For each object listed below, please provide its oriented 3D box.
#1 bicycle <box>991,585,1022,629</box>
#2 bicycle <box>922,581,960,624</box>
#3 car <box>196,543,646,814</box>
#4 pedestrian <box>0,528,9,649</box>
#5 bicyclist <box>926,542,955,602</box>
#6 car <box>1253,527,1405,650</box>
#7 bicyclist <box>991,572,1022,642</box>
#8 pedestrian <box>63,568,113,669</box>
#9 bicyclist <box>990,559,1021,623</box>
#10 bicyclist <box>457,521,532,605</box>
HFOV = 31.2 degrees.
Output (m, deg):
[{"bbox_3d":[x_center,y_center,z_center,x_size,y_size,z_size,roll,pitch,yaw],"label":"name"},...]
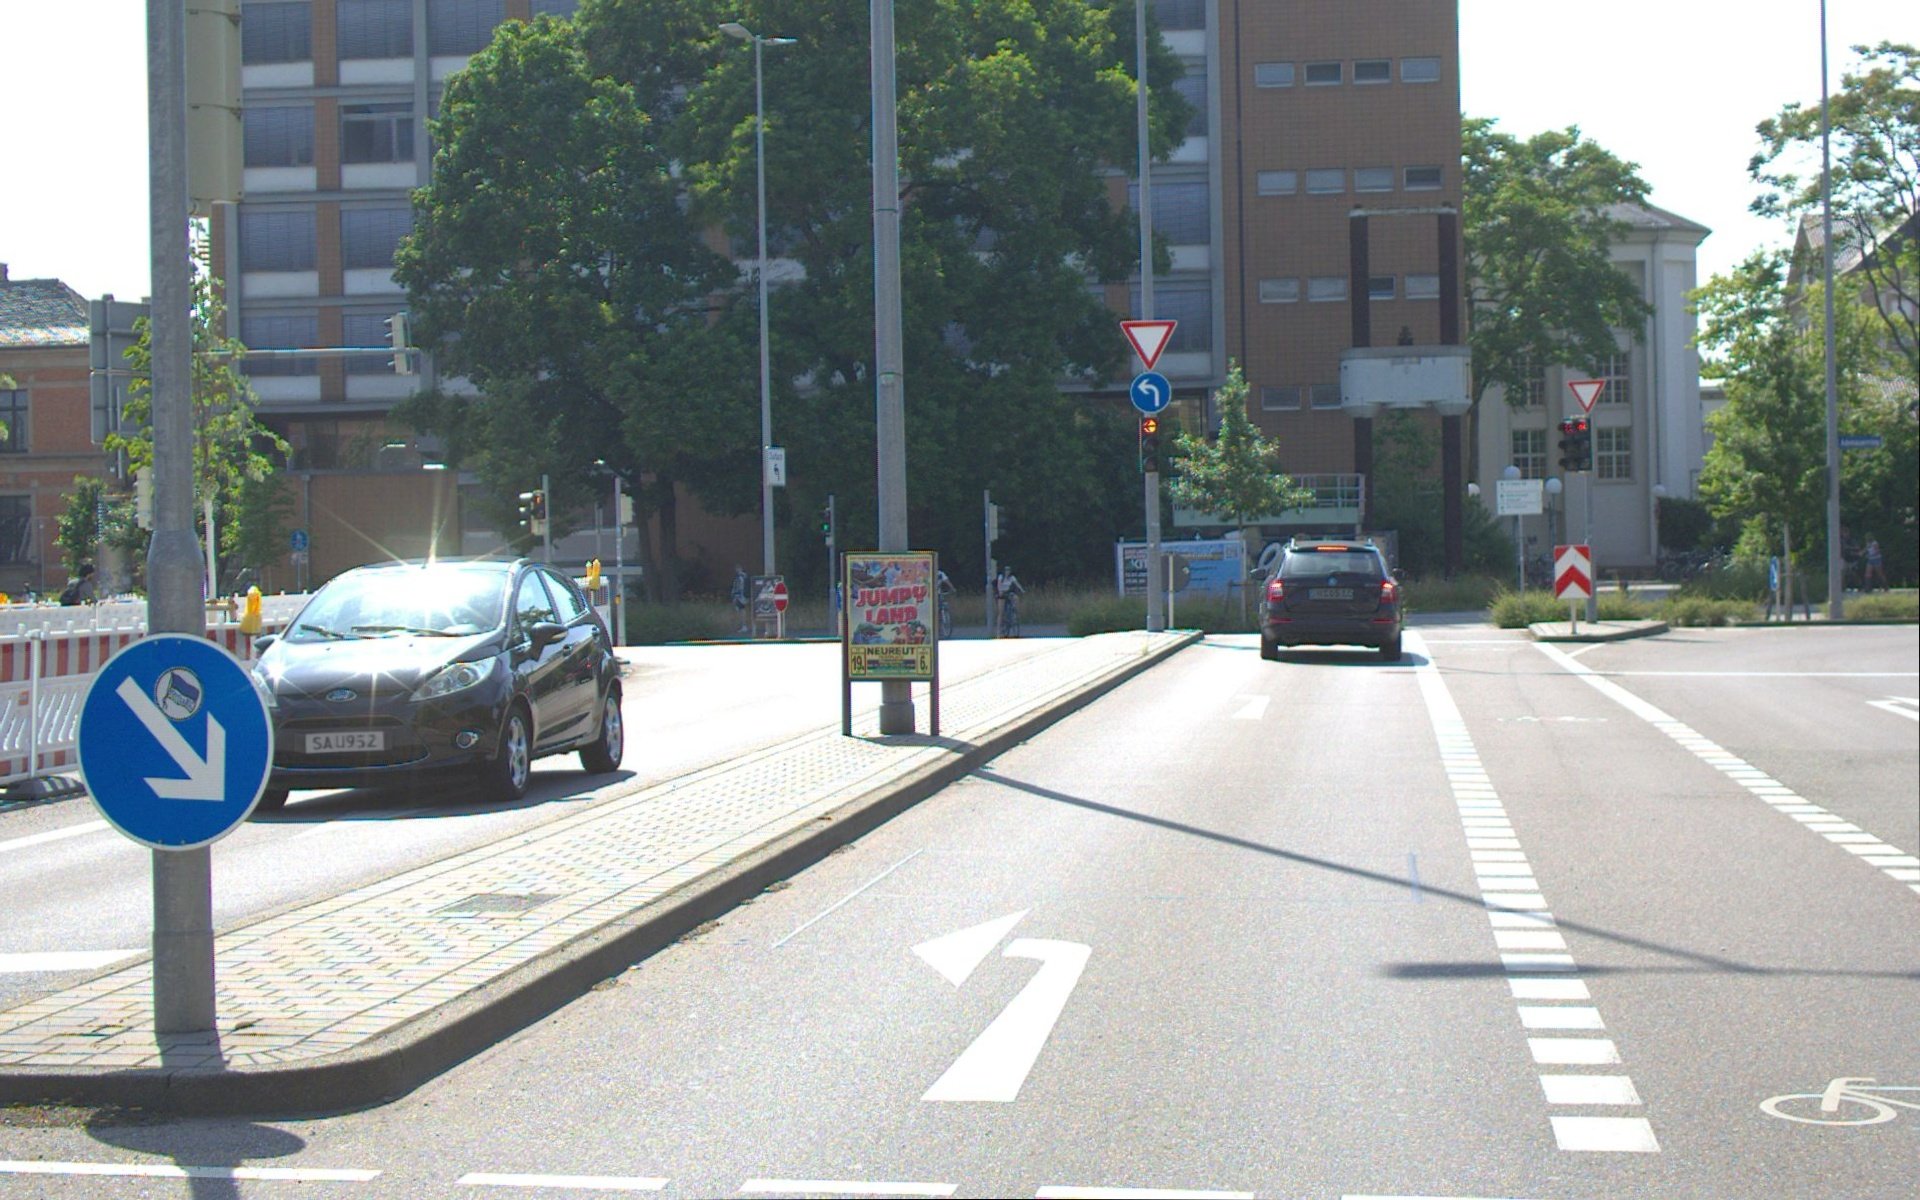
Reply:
[{"bbox_3d":[1.090,0.151,80.311,0.618,0.957,1.968,-4,1,2],"label":"bicycle"},{"bbox_3d":[-0.446,0.057,83.099,0.704,0.974,2.030,-2,1,5],"label":"bicycle"},{"bbox_3d":[-3.203,0.411,21.173,1.667,1.446,3.817,-3,1,8],"label":"car"},{"bbox_3d":[-14.274,-0.156,49.897,0.735,1.746,1.111,-2,-1,-9],"label":"pedestrian"},{"bbox_3d":[-0.461,-0.671,82.796,0.539,1.412,1.030,-2,0,5],"label":"bicyclist"},{"bbox_3d":[4.629,-0.172,42.810,1.780,1.438,3.817,1,1,7],"label":"car"},{"bbox_3d":[1.089,0.151,80.311,0.618,1.576,1.014,-4,1,2],"label":"bicyclist"},{"bbox_3d":[-13.008,0.270,51.292,0.630,1.486,0.617,-2,1,-9],"label":"pedestrian"},{"bbox_3d":[1.067,-0.213,80.309,0.618,1.438,0.920,-4,1,2],"label":"bicyclist"},{"bbox_3d":[-8.281,-0.655,61.172,1.166,1.469,0.563,-1,1,20],"label":"bicyclist"}]
